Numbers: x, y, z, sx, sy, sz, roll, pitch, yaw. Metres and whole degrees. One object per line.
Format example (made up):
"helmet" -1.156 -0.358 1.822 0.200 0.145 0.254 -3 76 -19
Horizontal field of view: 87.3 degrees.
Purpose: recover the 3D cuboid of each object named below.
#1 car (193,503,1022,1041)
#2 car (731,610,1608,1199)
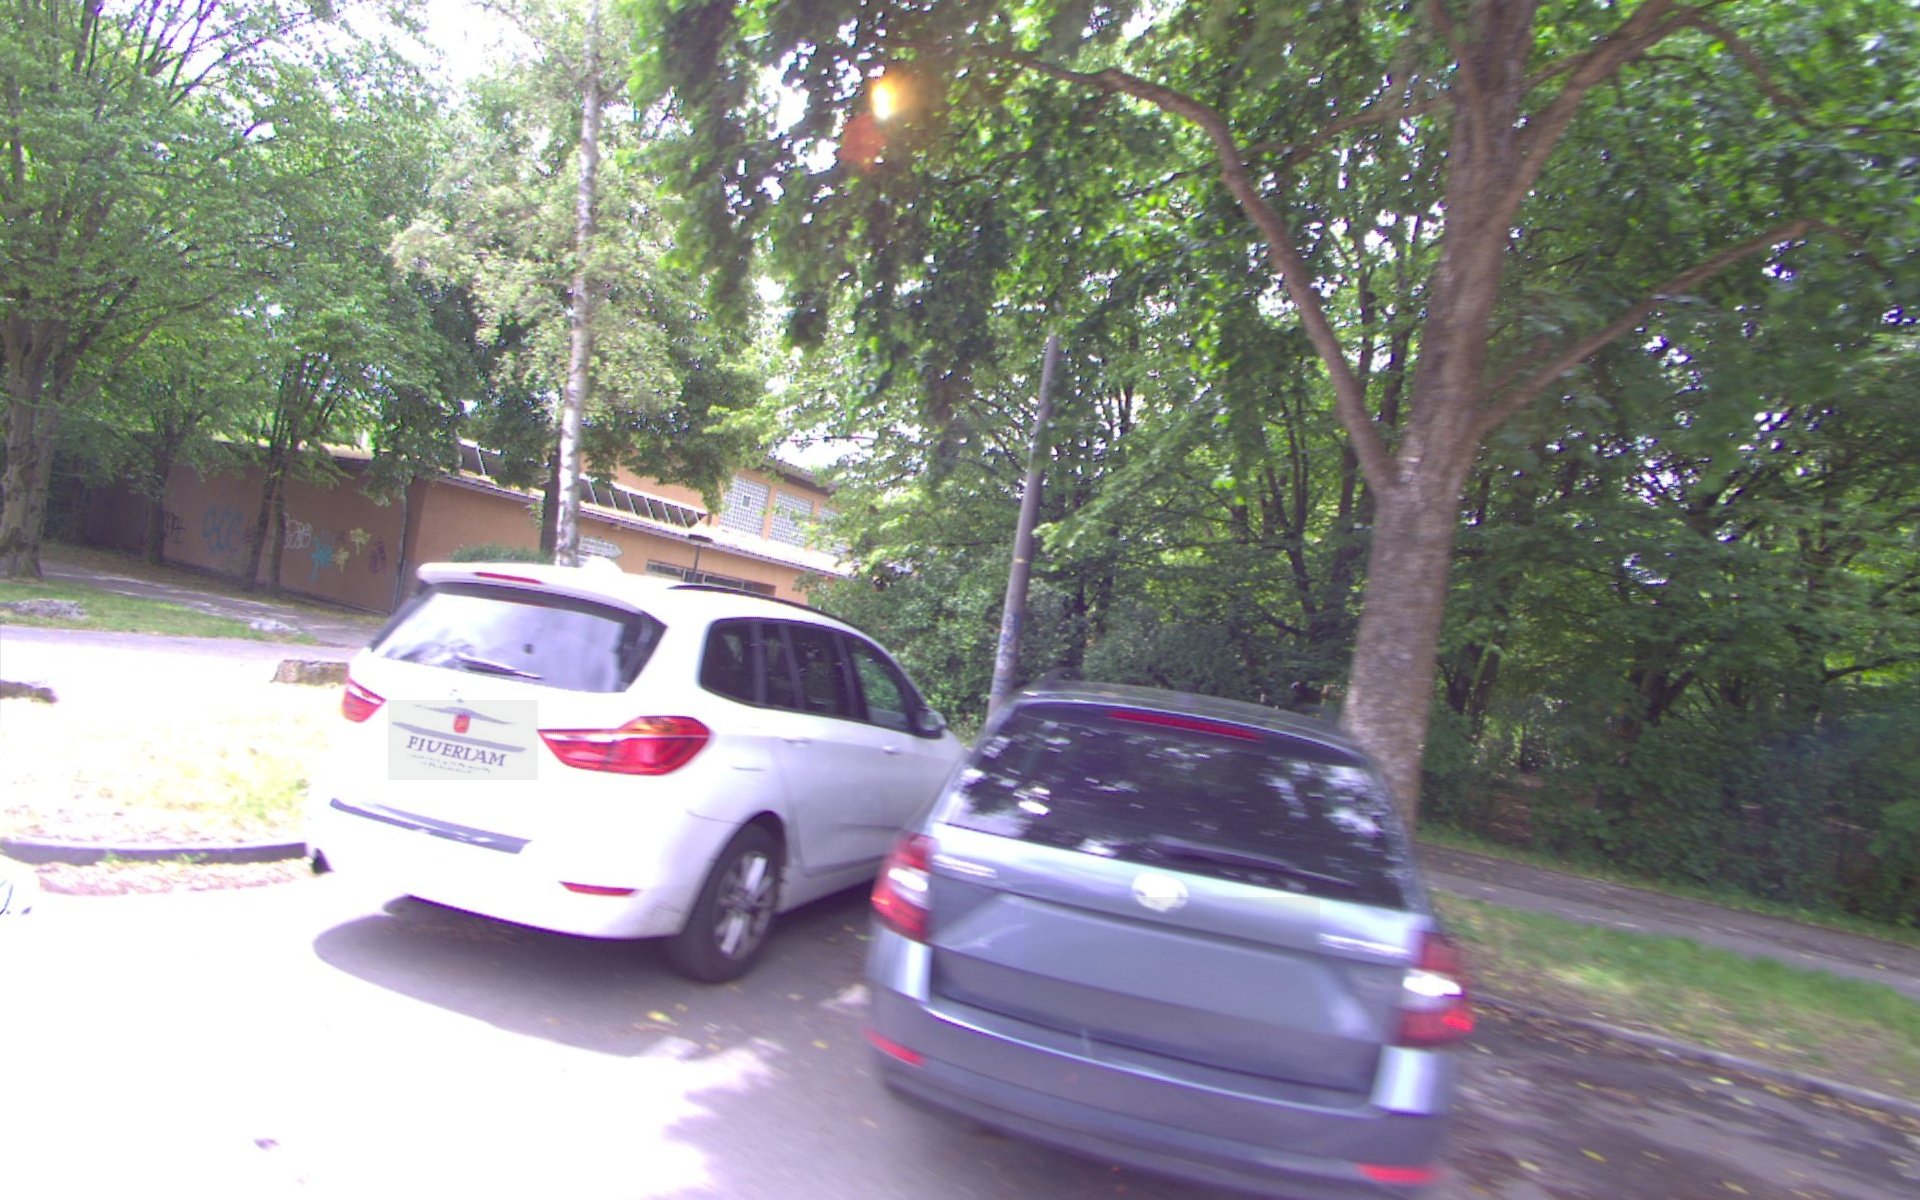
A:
"car" -1.257 0.778 5.717 1.871 1.602 4.491 7 -4 20
"car" 0.854 1.082 4.281 1.764 1.479 4.156 8 -4 14
